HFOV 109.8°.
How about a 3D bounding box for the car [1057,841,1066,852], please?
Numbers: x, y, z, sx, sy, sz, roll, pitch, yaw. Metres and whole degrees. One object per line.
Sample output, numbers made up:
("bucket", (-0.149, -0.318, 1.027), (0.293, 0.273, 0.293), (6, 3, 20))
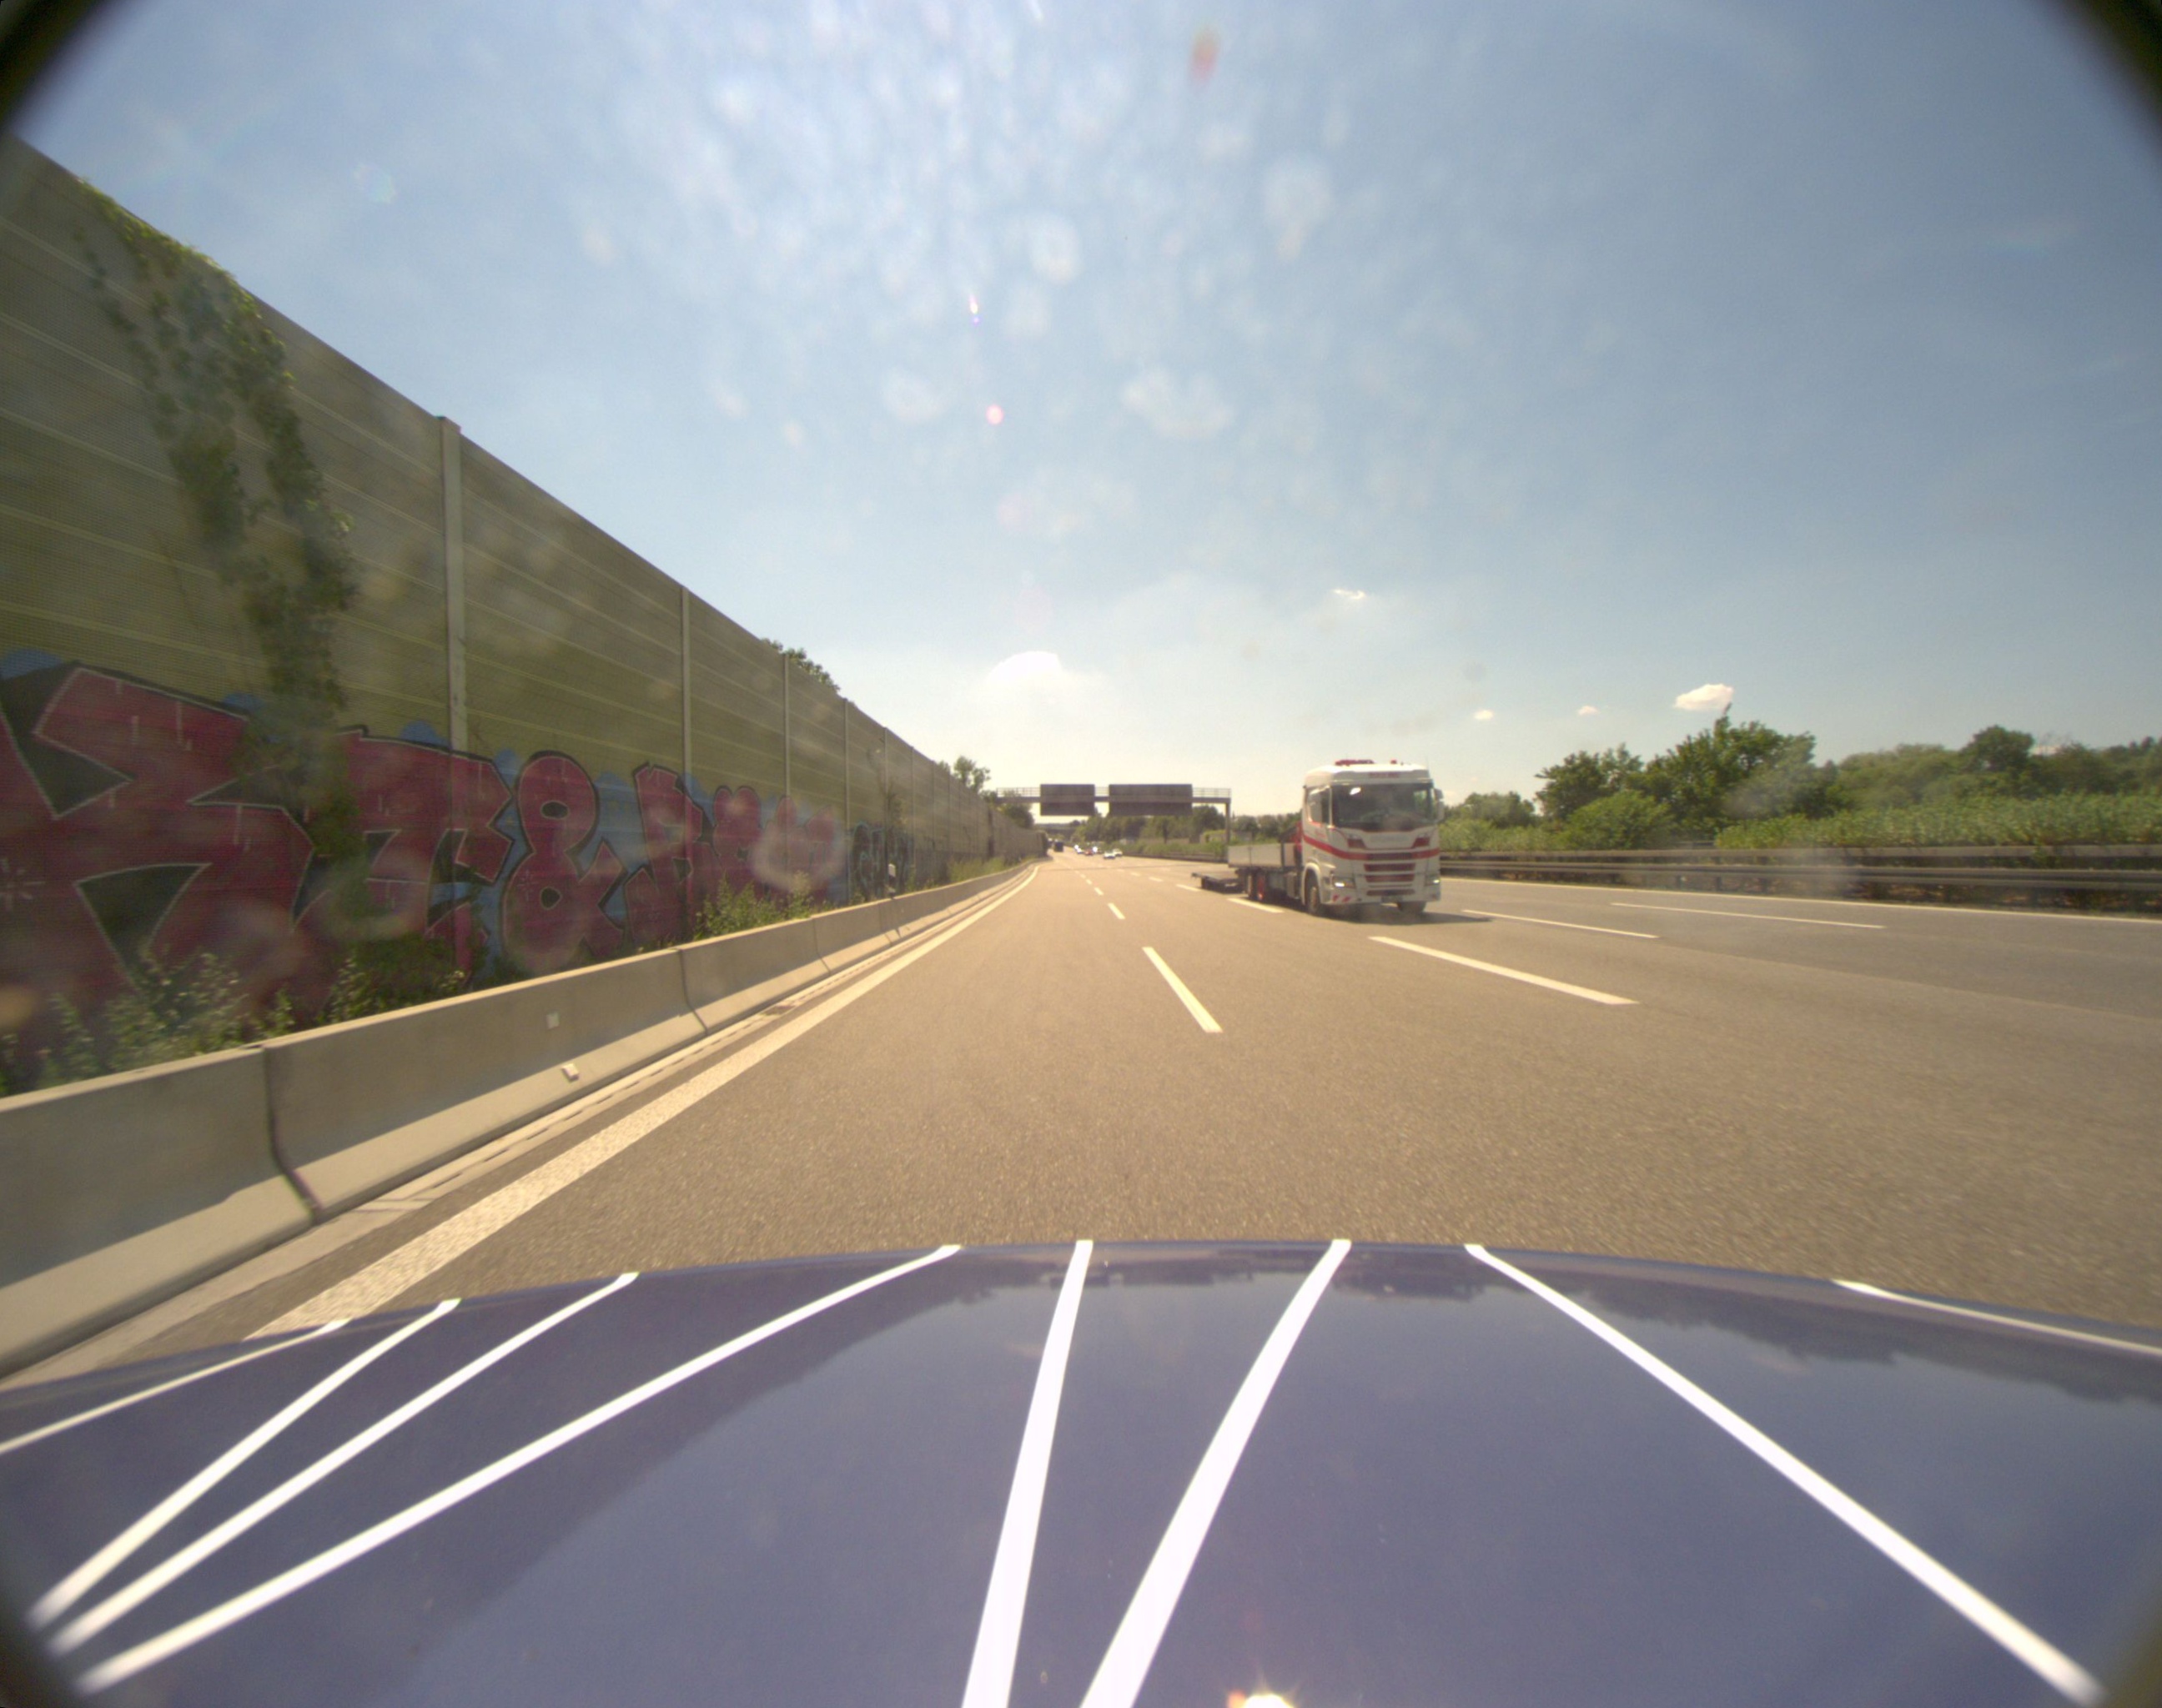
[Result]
("car", (-6.204, -2.243, 240.924), (2.116, 3.284, 6.442), (-2, 0, -5))

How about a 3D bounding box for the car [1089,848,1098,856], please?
("car", (2.926, -0.465, 173.263), (1.998, 1.832, 4.000), (-2, 0, 0))

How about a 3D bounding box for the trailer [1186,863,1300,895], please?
("trailer", (6.226, 0.936, 30.477), (2.722, 0.929, 7.758), (-2, 0, -1))

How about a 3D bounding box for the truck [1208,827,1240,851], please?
("truck", (24.602, -2.515, 131.005), (3.010, 3.944, 10.317), (-2, 1, -3))

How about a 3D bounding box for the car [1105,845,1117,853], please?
("car", (5.357, -0.915, 135.510), (1.787, 1.494, 4.170), (-1, 1, -2))

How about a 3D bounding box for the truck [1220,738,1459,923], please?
("truck", (6.412, -0.494, 21.284), (2.722, 3.780, 10.670), (-2, 0, -1))

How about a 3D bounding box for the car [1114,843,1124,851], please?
("car", (7.724, -1.401, 153.810), (1.883, 1.542, 4.000), (-2, -1, 1))

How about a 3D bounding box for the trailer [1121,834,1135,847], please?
("trailer", (15.223, -4.270, 245.943), (2.613, 4.110, 14.220), (-2, 1, -4))

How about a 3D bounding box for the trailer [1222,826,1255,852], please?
("trailer", (25.086, -2.393, 121.515), (2.931, 3.944, 8.655), (-2, 1, -3))

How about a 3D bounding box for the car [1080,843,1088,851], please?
("car", (0.793, -1.820, 199.516), (1.998, 1.832, 4.000), (-2, 0, 0))
